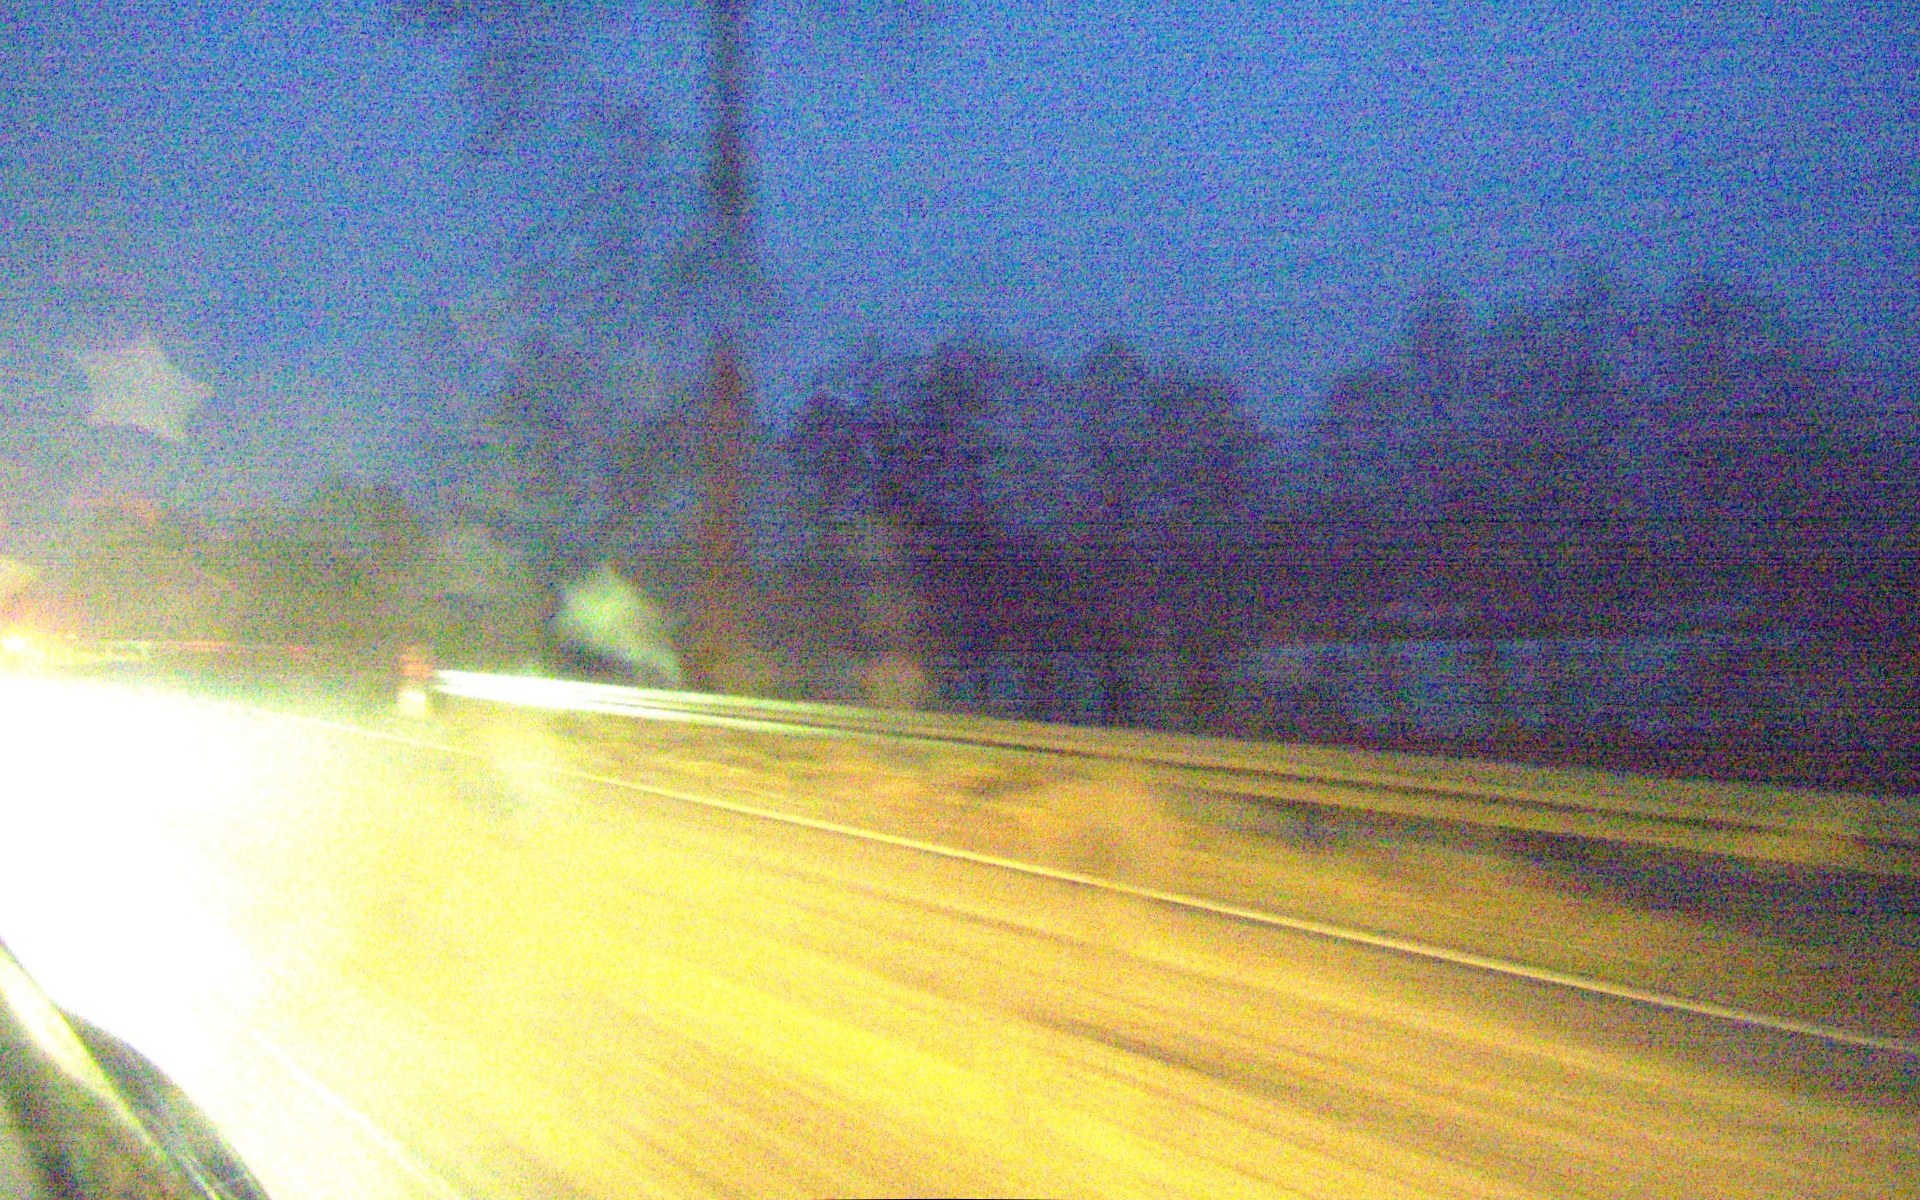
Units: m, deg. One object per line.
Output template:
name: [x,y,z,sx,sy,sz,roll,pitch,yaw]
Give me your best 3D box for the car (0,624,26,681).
car: [-27.487,1.498,28.195,3.687,1.521,1.754,-2,0,41]
